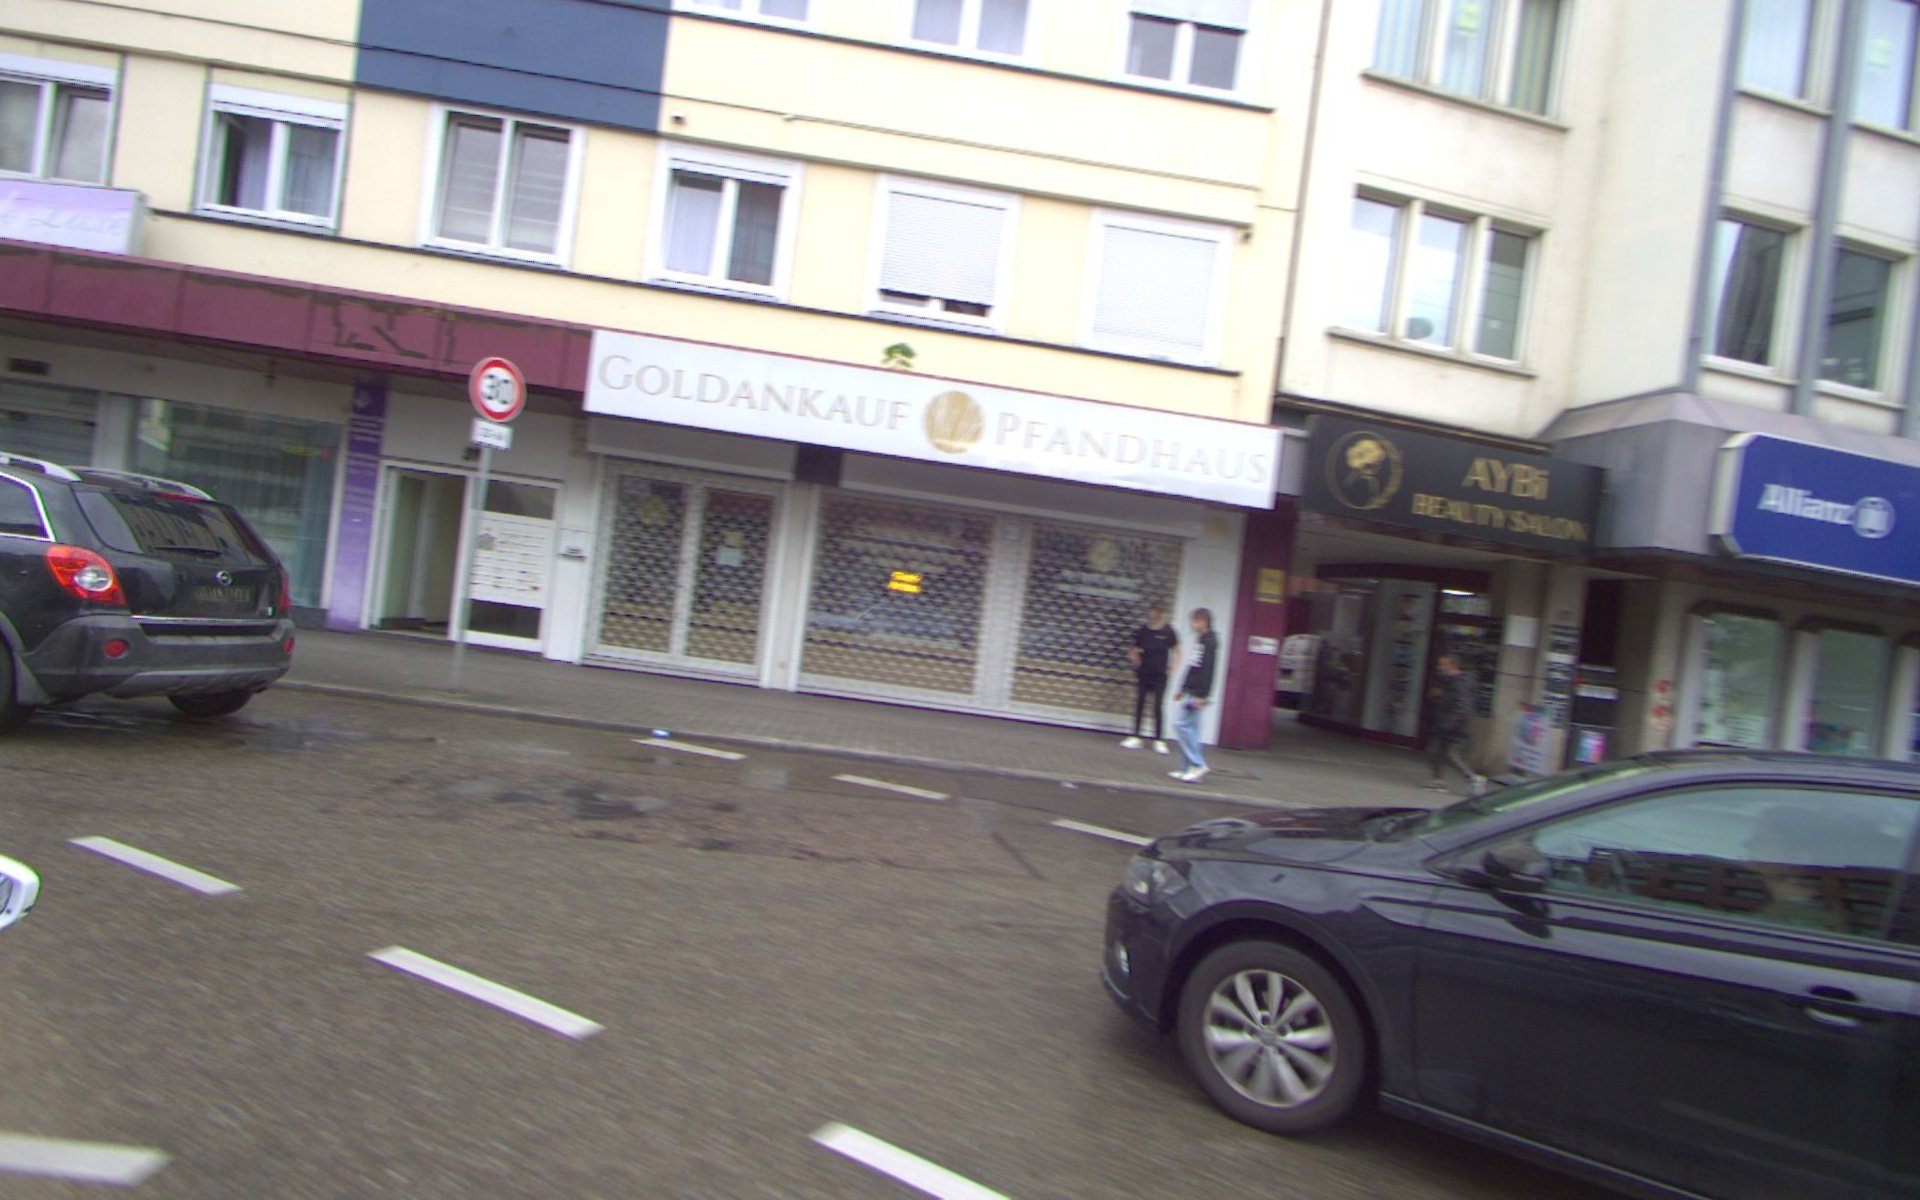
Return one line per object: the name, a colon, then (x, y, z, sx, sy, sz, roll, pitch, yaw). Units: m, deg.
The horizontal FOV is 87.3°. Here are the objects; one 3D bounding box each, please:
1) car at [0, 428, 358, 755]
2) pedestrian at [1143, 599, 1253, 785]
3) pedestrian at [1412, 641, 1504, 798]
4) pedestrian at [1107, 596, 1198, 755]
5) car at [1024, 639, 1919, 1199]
car: (-6.887, -0.227, 7.003, 4.219, 1.806, 1.915, 7, -1, 9)
pedestrian: (2.487, 0.943, 10.609, 0.607, 1.788, 0.836, 8, 3, -7)
pedestrian: (5.972, 1.420, 12.105, 0.739, 1.742, 0.755, 7, -2, 21)
pedestrian: (2.323, 0.903, 12.108, 0.774, 1.783, 0.618, 7, -2, 21)
car: (2.363, 1.136, 3.309, 3.818, 1.447, 1.740, 7, -2, 34)
